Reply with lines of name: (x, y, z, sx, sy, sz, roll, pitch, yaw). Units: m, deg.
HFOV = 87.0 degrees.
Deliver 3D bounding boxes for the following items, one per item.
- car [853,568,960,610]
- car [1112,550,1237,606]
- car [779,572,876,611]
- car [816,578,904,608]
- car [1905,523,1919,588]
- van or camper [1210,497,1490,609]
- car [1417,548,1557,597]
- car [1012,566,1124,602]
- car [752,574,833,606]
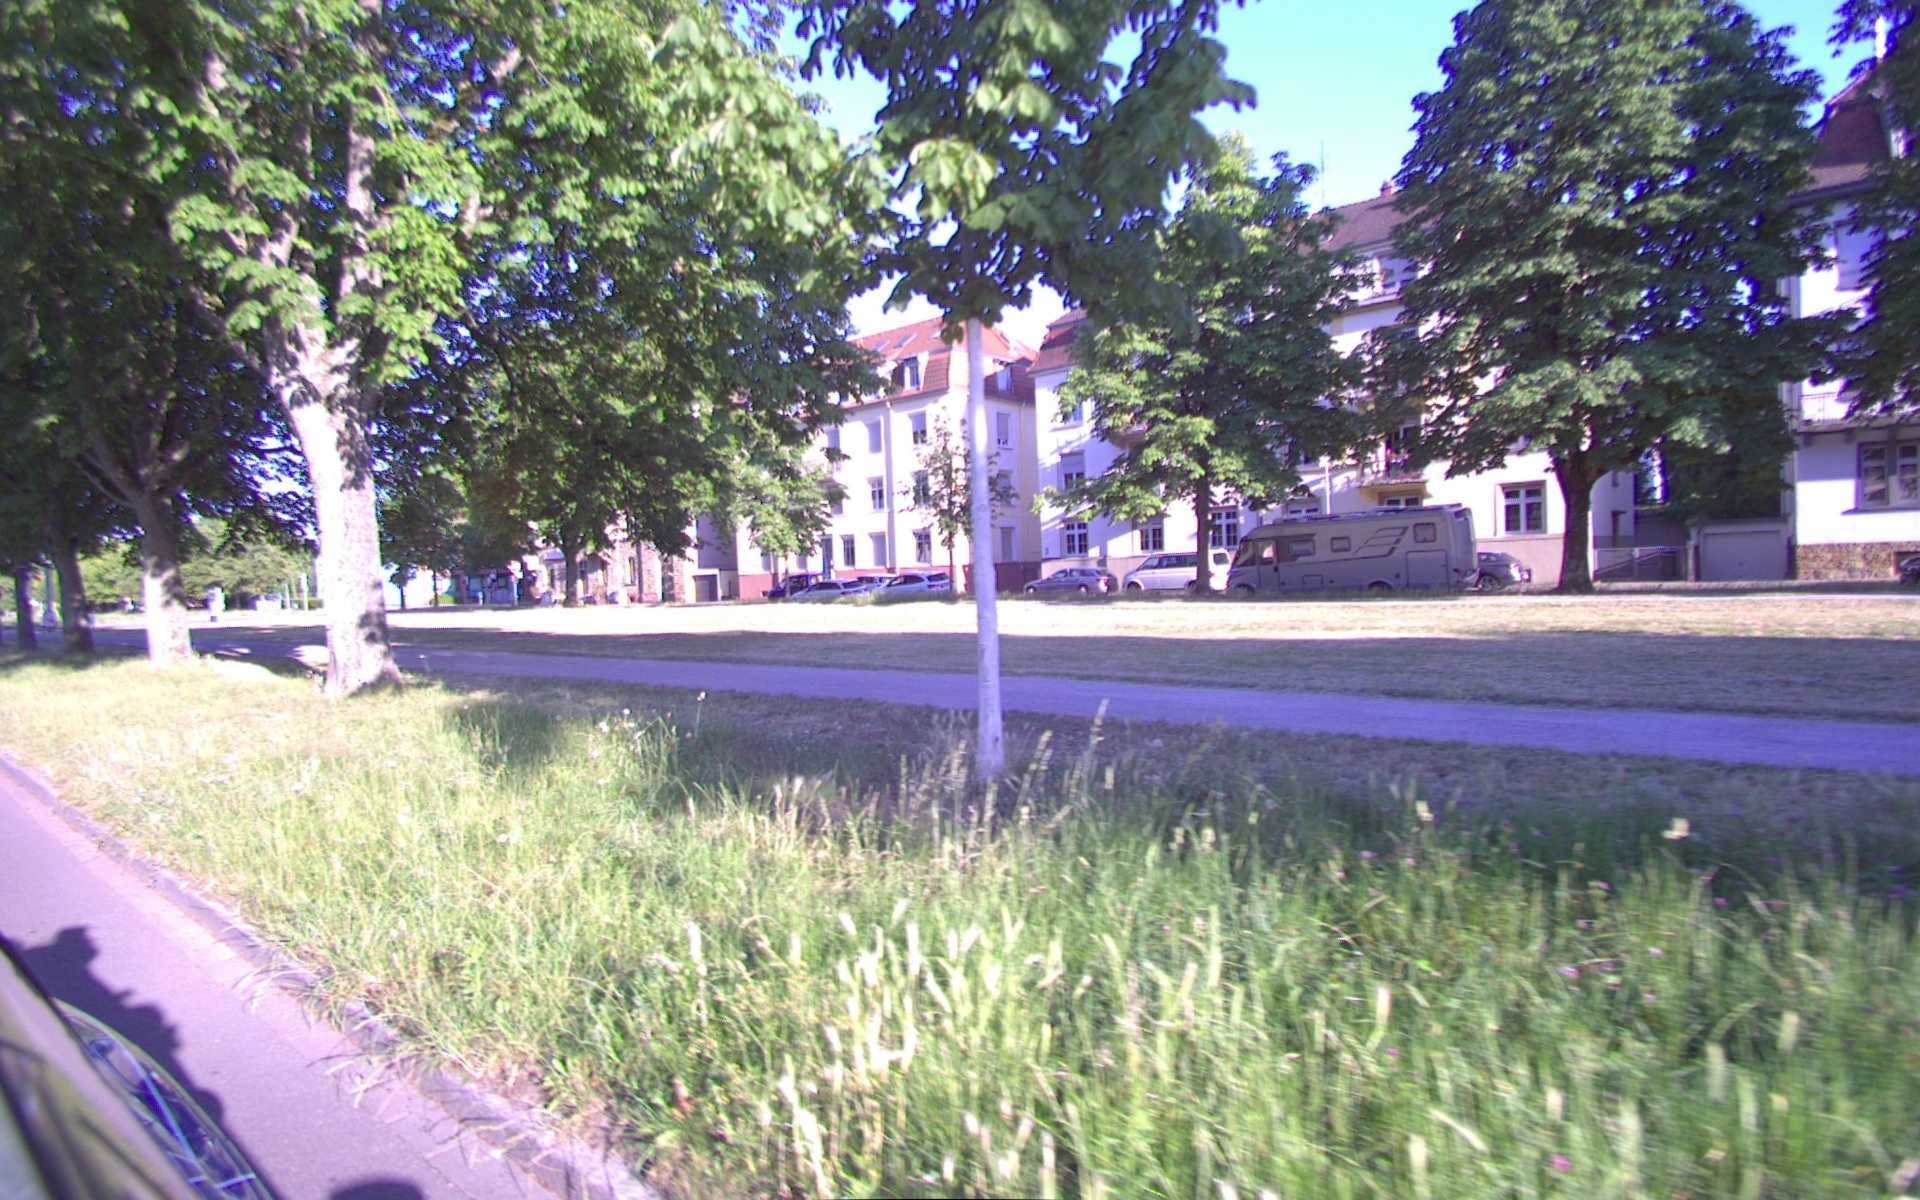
car: (-2.476, -0.492, 45.997, 4.874, 1.703, 1.973, -2, 1, 42)
car: (9.179, -0.920, 43.610, 4.875, 2.219, 1.972, -2, 1, 43)
car: (-6.554, -0.408, 49.645, 4.874, 1.703, 1.973, -2, 1, 42)
car: (-5.572, -0.381, 56.047, 4.870, 1.464, 1.974, -2, 1, 39)
car: (27.941, -1.297, 26.931, 4.000, 1.747, 1.972, -2, 1, 43)
van or camper: (12.594, -1.413, 33.170, 7.893, 3.134, 3.220, -2, 1, 42)
car: (18.457, -0.953, 35.527, 3.998, 1.475, 1.973, -2, 2, 41)
car: (4.969, -0.747, 46.943, 4.870, 1.464, 1.974, -2, 1, 39)
car: (-10.060, -0.603, 60.541, 4.870, 1.703, 1.974, -2, 1, 39)
